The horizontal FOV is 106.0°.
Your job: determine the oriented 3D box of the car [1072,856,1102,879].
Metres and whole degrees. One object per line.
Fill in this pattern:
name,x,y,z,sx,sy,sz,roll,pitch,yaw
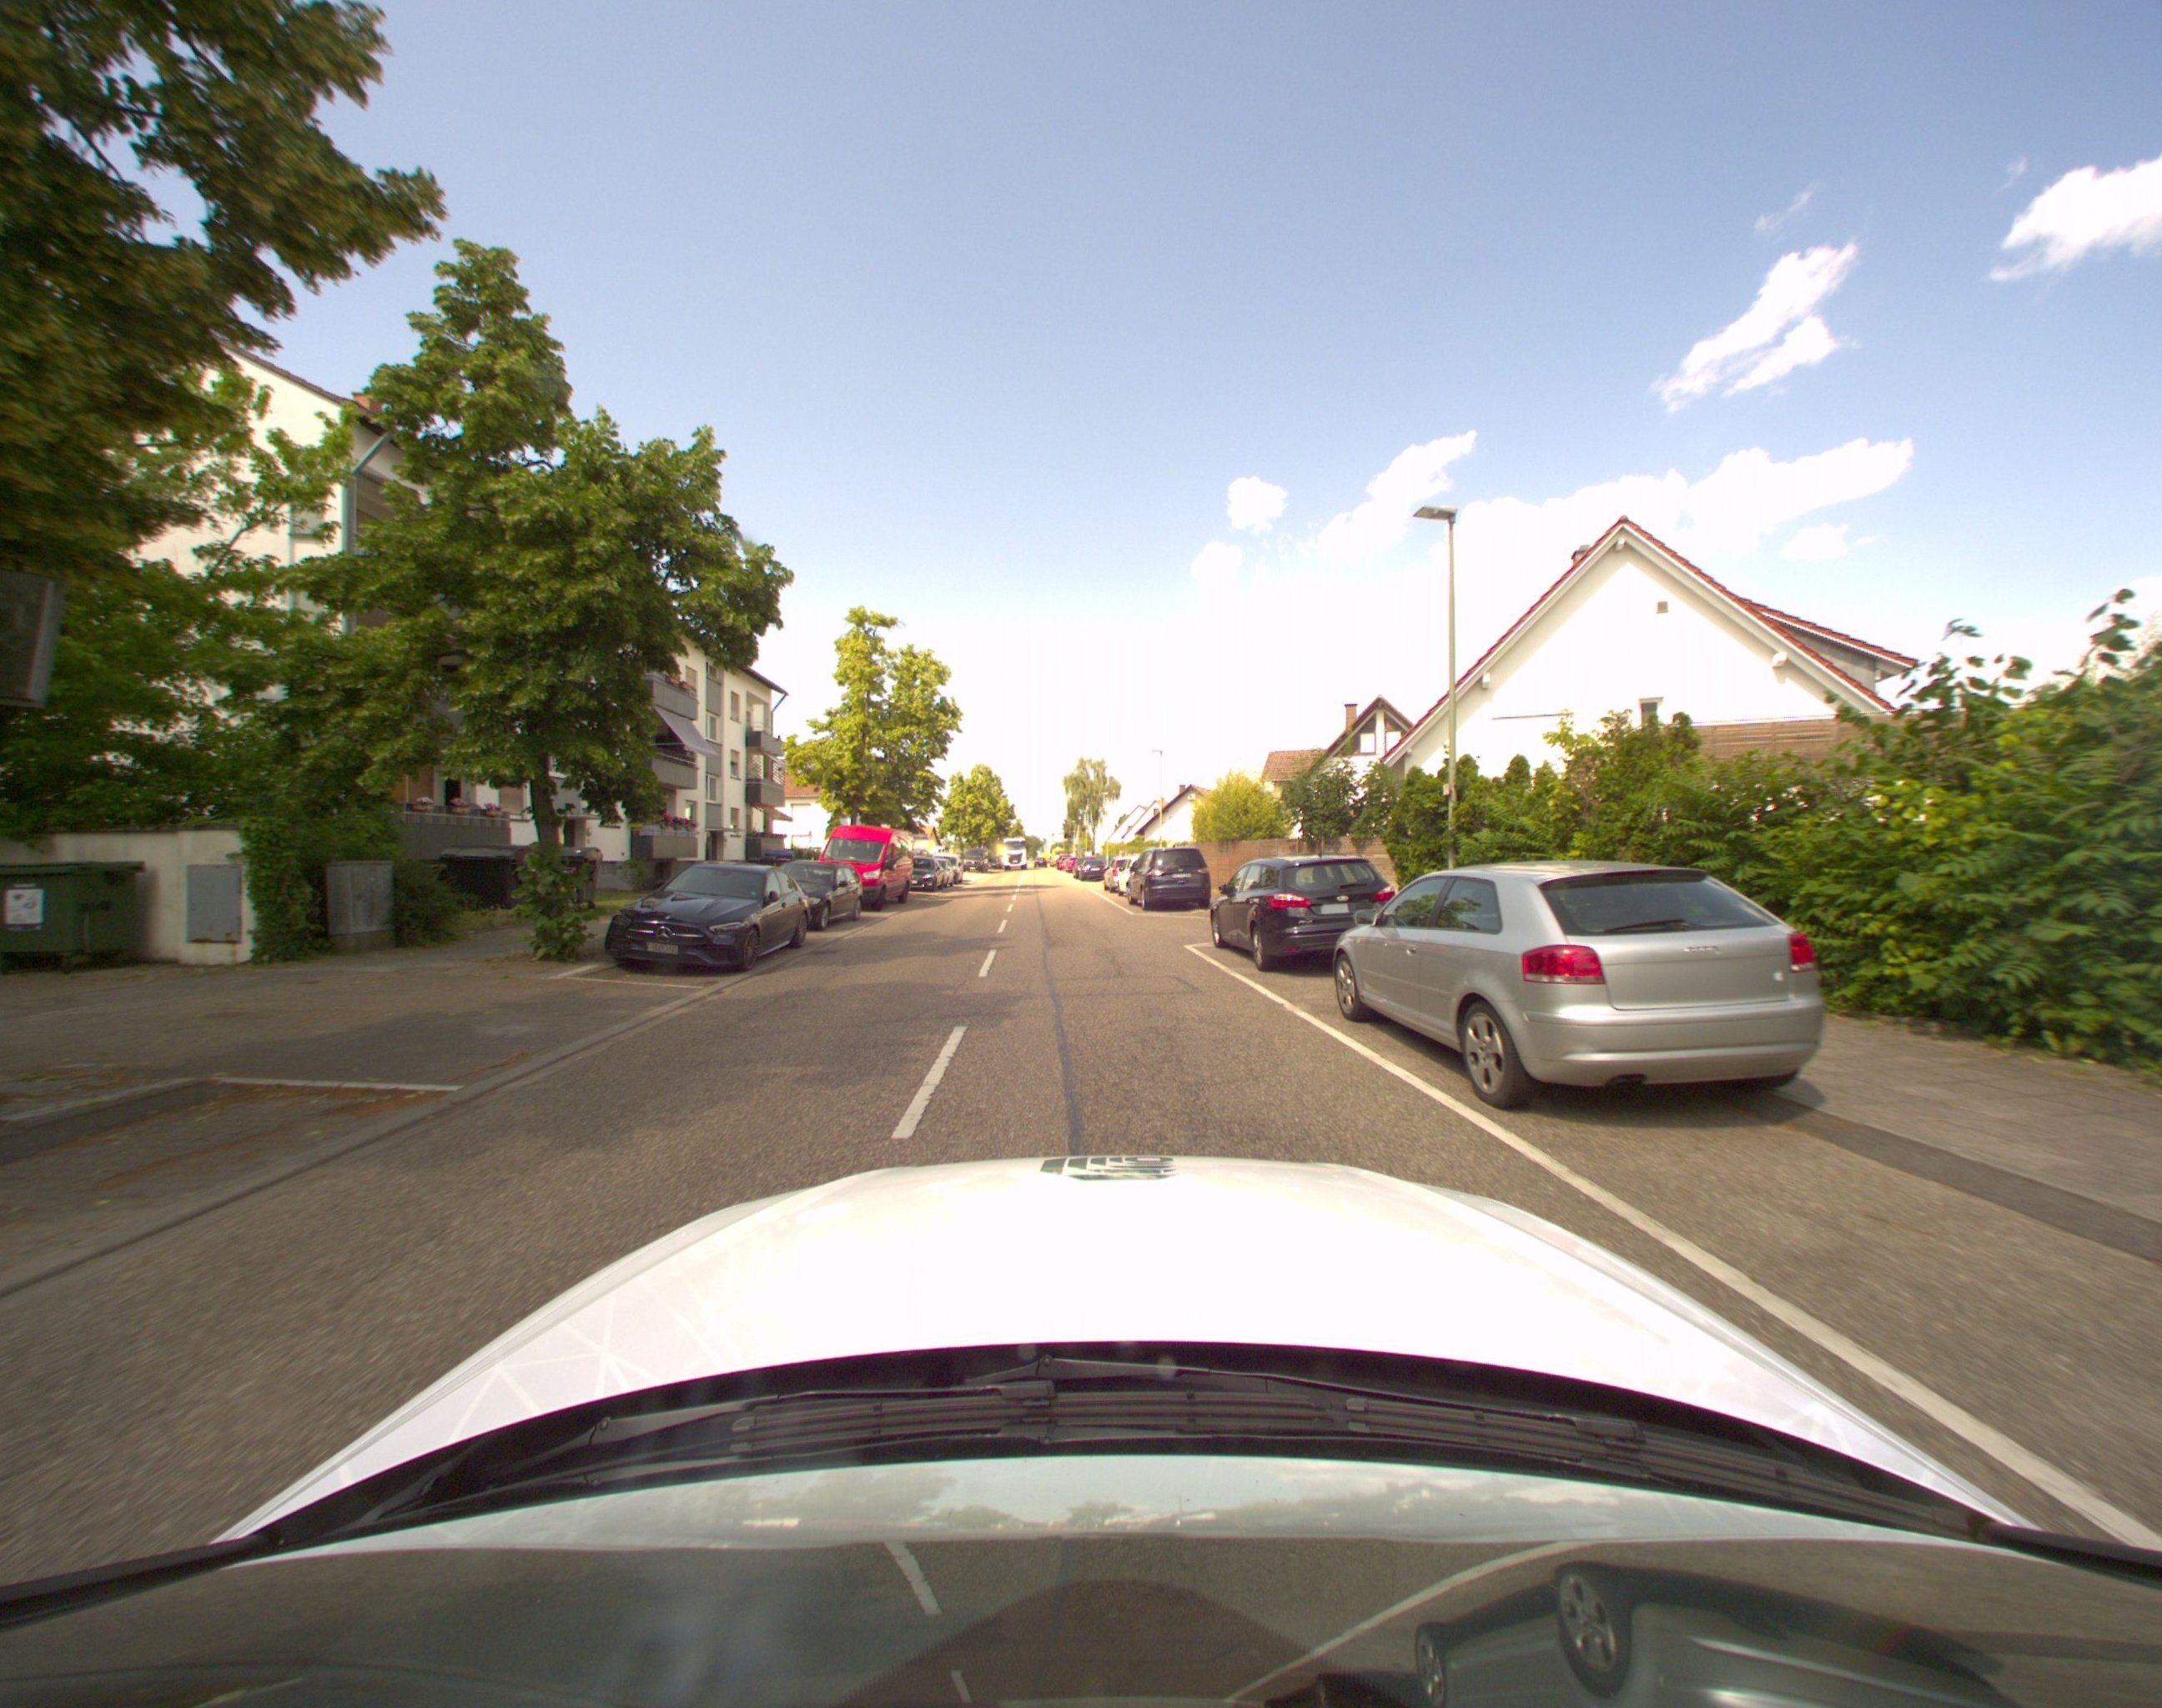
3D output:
car,0.365,0.890,56.318,1.791,1.523,3.968,0,0,-4

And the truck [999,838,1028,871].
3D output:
truck,-7.657,0.041,93.401,2.856,3.512,12.340,0,0,-3

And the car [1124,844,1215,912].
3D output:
car,2.446,0.622,23.588,1.792,1.748,4.576,0,0,-5

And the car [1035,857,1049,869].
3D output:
car,-5.339,1.209,111.485,1.792,1.523,4.524,0,0,-5

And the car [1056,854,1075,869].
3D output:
car,-1.604,0.764,84.895,1.791,1.523,4.525,0,0,-4

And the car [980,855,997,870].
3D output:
car,-11.117,1.036,97.789,1.784,1.601,4.427,4,-1,-5

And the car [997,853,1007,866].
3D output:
car,-14.374,0.959,148.228,1.784,2.252,4.763,-1,0,-5

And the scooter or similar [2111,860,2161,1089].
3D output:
scooter or similar,6.034,0.661,4.057,0.211,1.252,1.243,0,0,0

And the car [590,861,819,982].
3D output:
car,-5.560,0.896,12.733,1.784,1.457,4.427,4,-1,-5

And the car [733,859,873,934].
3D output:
car,-6.339,0.903,19.167,1.782,1.457,4.432,3,-1,-2

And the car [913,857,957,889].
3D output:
car,-7.534,0.950,42.306,1.784,1.457,4.427,4,-1,-5

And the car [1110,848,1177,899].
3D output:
car,2.236,0.667,29.978,1.792,1.748,3.965,0,0,-6

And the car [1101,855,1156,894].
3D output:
car,1.952,0.824,34.480,1.792,1.523,3.966,0,0,-5

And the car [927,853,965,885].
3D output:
car,-7.977,0.880,48.518,1.784,1.746,4.427,4,-1,-5

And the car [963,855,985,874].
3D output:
car,-9.991,0.948,76.582,1.784,1.601,4.427,4,-1,-5

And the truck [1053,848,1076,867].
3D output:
truck,-2.069,0.447,100.712,2.563,2.260,6.526,0,0,-4

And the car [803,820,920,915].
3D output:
car,-6.655,0.376,25.500,2.058,2.500,5.837,3,0,-2

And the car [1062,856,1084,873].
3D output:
car,-0.730,0.923,75.179,1.791,1.523,4.525,0,0,-4

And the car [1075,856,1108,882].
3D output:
car,0.653,0.926,51.785,1.791,1.523,3.968,0,0,-4

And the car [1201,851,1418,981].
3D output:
car,3.013,0.726,11.786,1.733,1.509,4.471,0,0,-2

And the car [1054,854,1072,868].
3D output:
car,-1.966,0.760,89.717,1.791,1.523,4.525,0,0,-4

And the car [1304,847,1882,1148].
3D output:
car,3.199,0.732,6.322,1.731,1.457,4.365,-2,0,0

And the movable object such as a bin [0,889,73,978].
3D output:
movable object such as a bin,-13.471,0.990,10.150,0.621,1.024,0.880,-1,3,9

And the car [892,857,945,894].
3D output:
car,-7.112,0.917,36.005,1.784,1.457,4.427,4,-1,-5

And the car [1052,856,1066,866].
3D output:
car,-3.192,0.989,116.907,1.792,1.523,4.524,0,0,-5

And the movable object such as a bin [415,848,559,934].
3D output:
movable object such as a bin,-11.078,0.650,15.305,1.350,1.504,1.826,-1,0,-1

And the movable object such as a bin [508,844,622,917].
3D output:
movable object such as a bin,-11.373,0.554,18.042,1.350,1.504,1.826,-1,0,-1

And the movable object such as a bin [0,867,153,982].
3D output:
movable object such as a bin,-12.531,0.846,10.019,1.185,1.274,0.880,-1,3,8
